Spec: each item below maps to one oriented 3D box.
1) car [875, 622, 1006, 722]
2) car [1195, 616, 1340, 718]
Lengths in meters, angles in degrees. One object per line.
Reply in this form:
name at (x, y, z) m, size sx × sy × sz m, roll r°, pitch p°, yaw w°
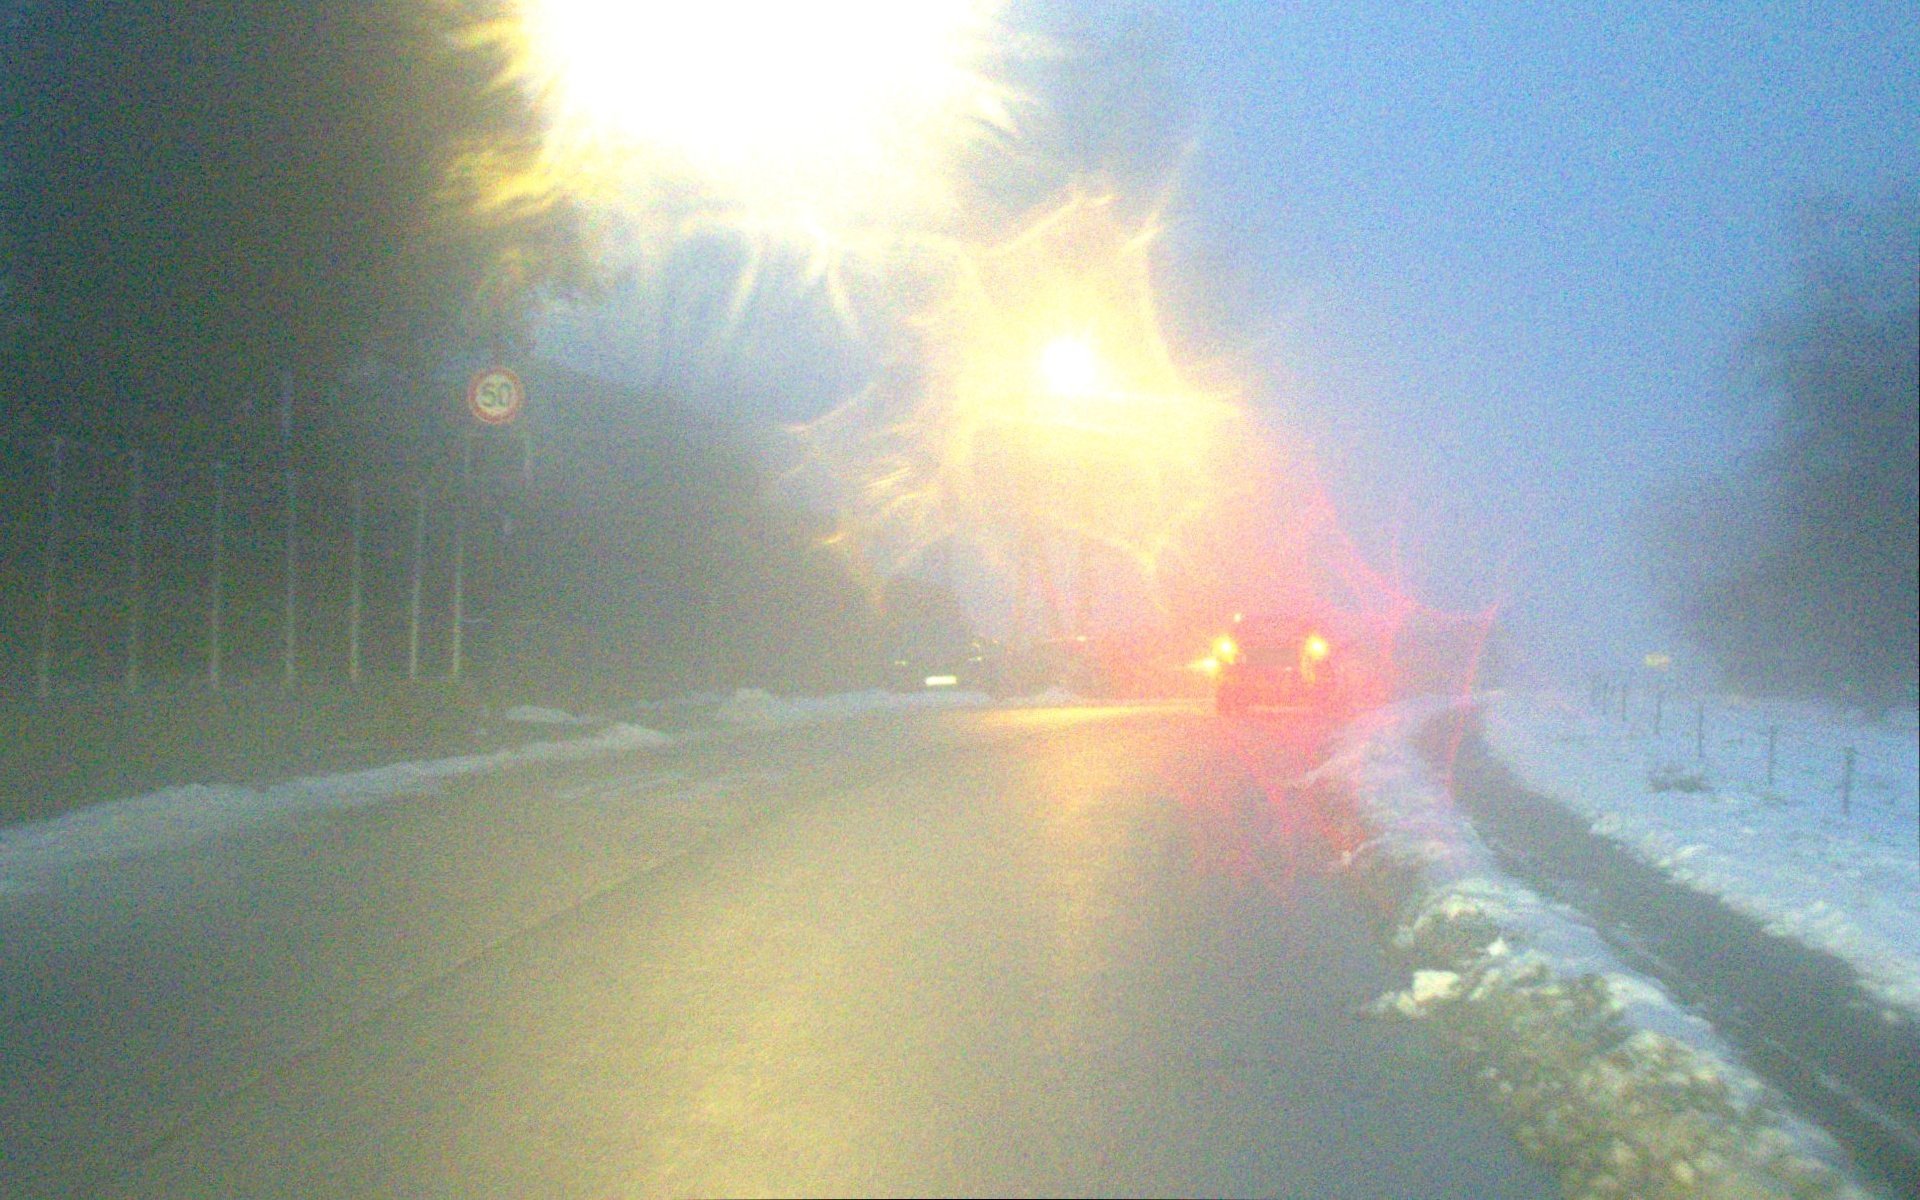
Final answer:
car at (-0.400, 1.328, 61.849) m, size 1.993 × 1.561 × 4.997 m, roll -3°, pitch -3°, yaw -4°
car at (4.518, 0.960, 50.050) m, size 1.994 × 1.415 × 3.999 m, roll 0°, pitch -1°, yaw 7°
